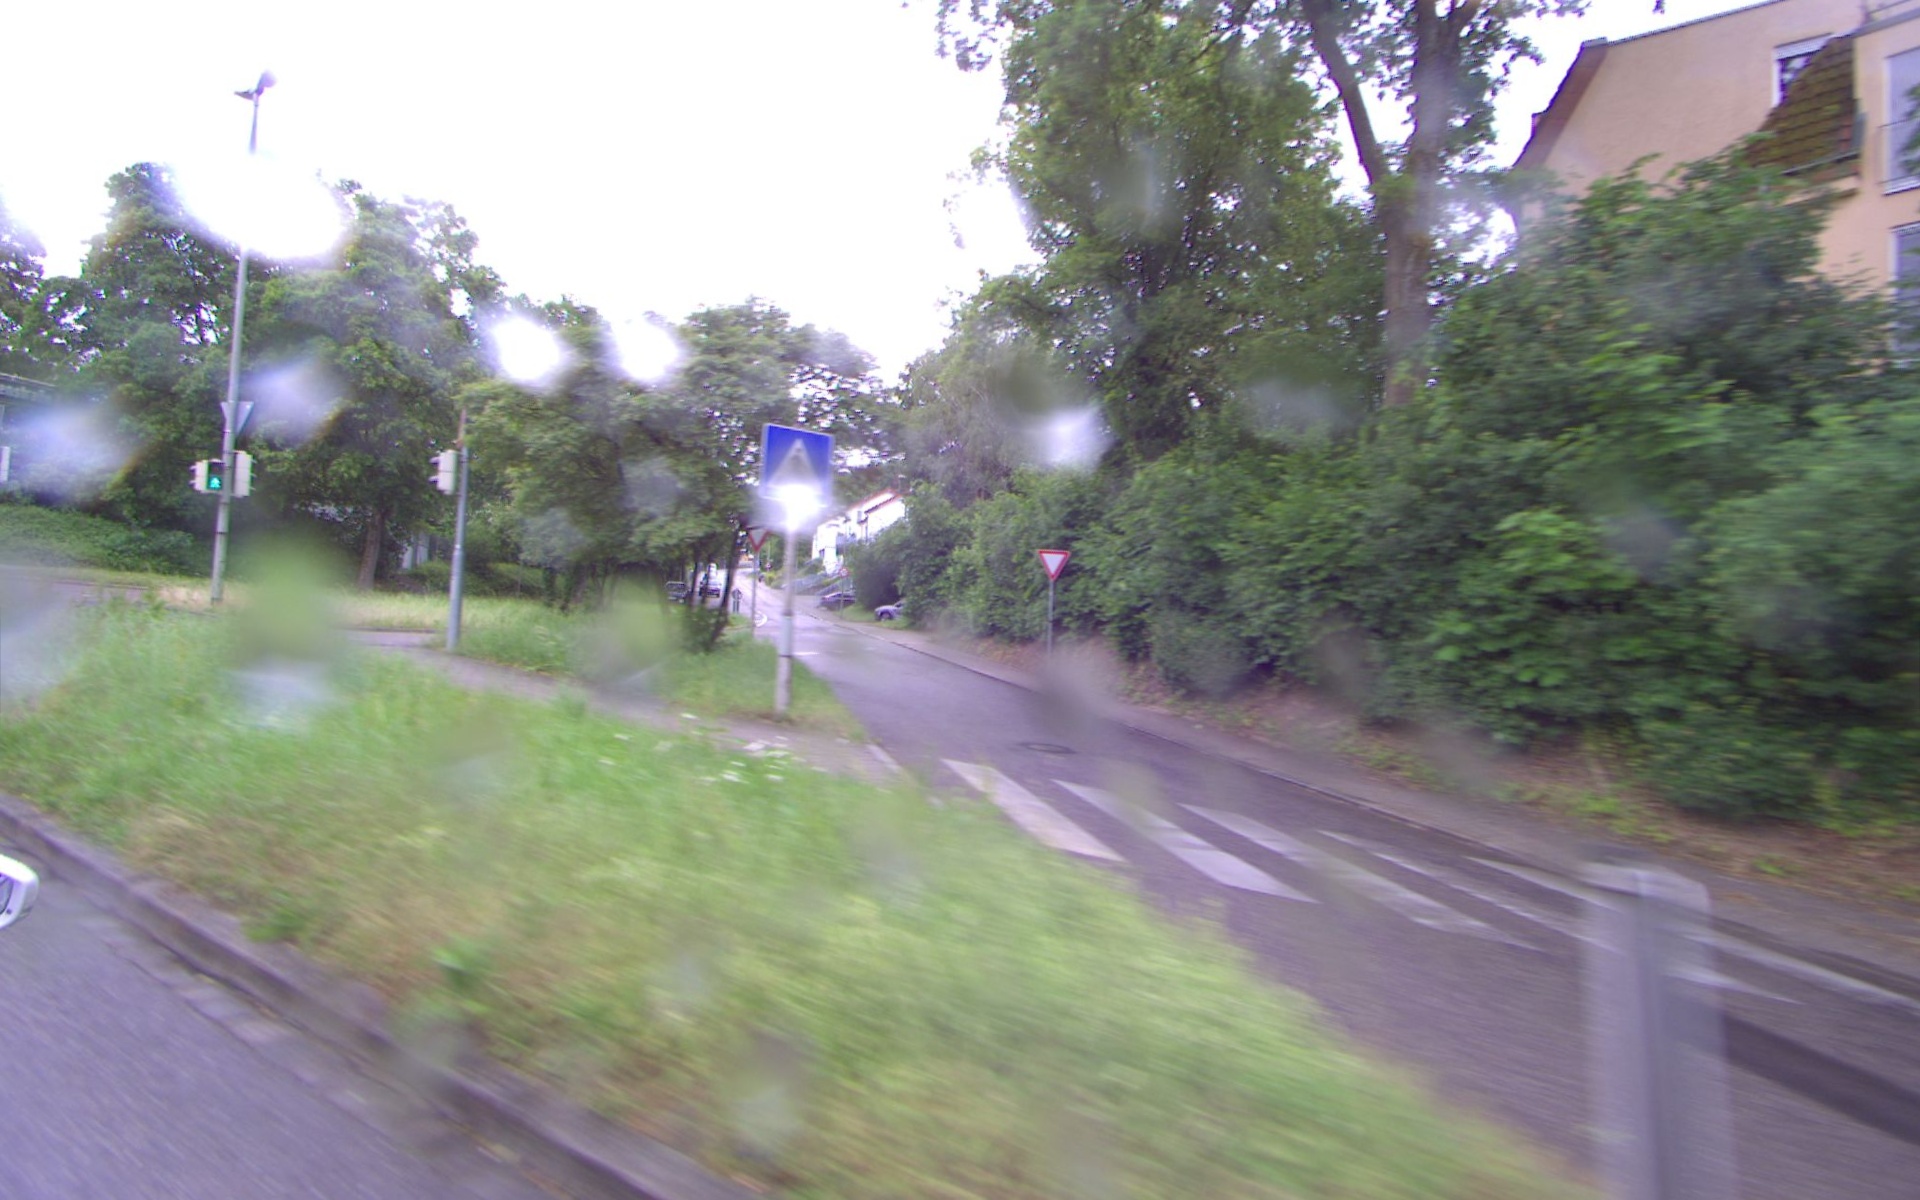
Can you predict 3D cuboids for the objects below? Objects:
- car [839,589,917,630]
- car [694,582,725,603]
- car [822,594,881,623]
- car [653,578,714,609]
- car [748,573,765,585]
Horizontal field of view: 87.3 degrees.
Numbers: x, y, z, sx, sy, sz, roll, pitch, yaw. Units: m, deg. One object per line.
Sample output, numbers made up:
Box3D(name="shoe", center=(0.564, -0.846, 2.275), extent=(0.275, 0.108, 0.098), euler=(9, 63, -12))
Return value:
Box3D(name="car", center=(-4.807, 0.585, 59.179), extent=(3.925, 1.922, 1.958), euler=(6, 0, 18))
Box3D(name="car", center=(-22.127, -0.651, 89.083), extent=(1.672, 1.462, 4.003), euler=(7, -3, -1))
Box3D(name="car", center=(-7.959, 0.618, 73.628), extent=(3.937, 1.668, 1.952), euler=(7, -1, -15))
Box3D(name="car", center=(-17.386, -0.401, 63.374), extent=(1.793, 1.590, 4.002), euler=(6, -1, 16))
Box3D(name="car", center=(-30.664, -3.168, 151.629), extent=(1.918, 1.474, 4.202), euler=(8, -3, -18))
